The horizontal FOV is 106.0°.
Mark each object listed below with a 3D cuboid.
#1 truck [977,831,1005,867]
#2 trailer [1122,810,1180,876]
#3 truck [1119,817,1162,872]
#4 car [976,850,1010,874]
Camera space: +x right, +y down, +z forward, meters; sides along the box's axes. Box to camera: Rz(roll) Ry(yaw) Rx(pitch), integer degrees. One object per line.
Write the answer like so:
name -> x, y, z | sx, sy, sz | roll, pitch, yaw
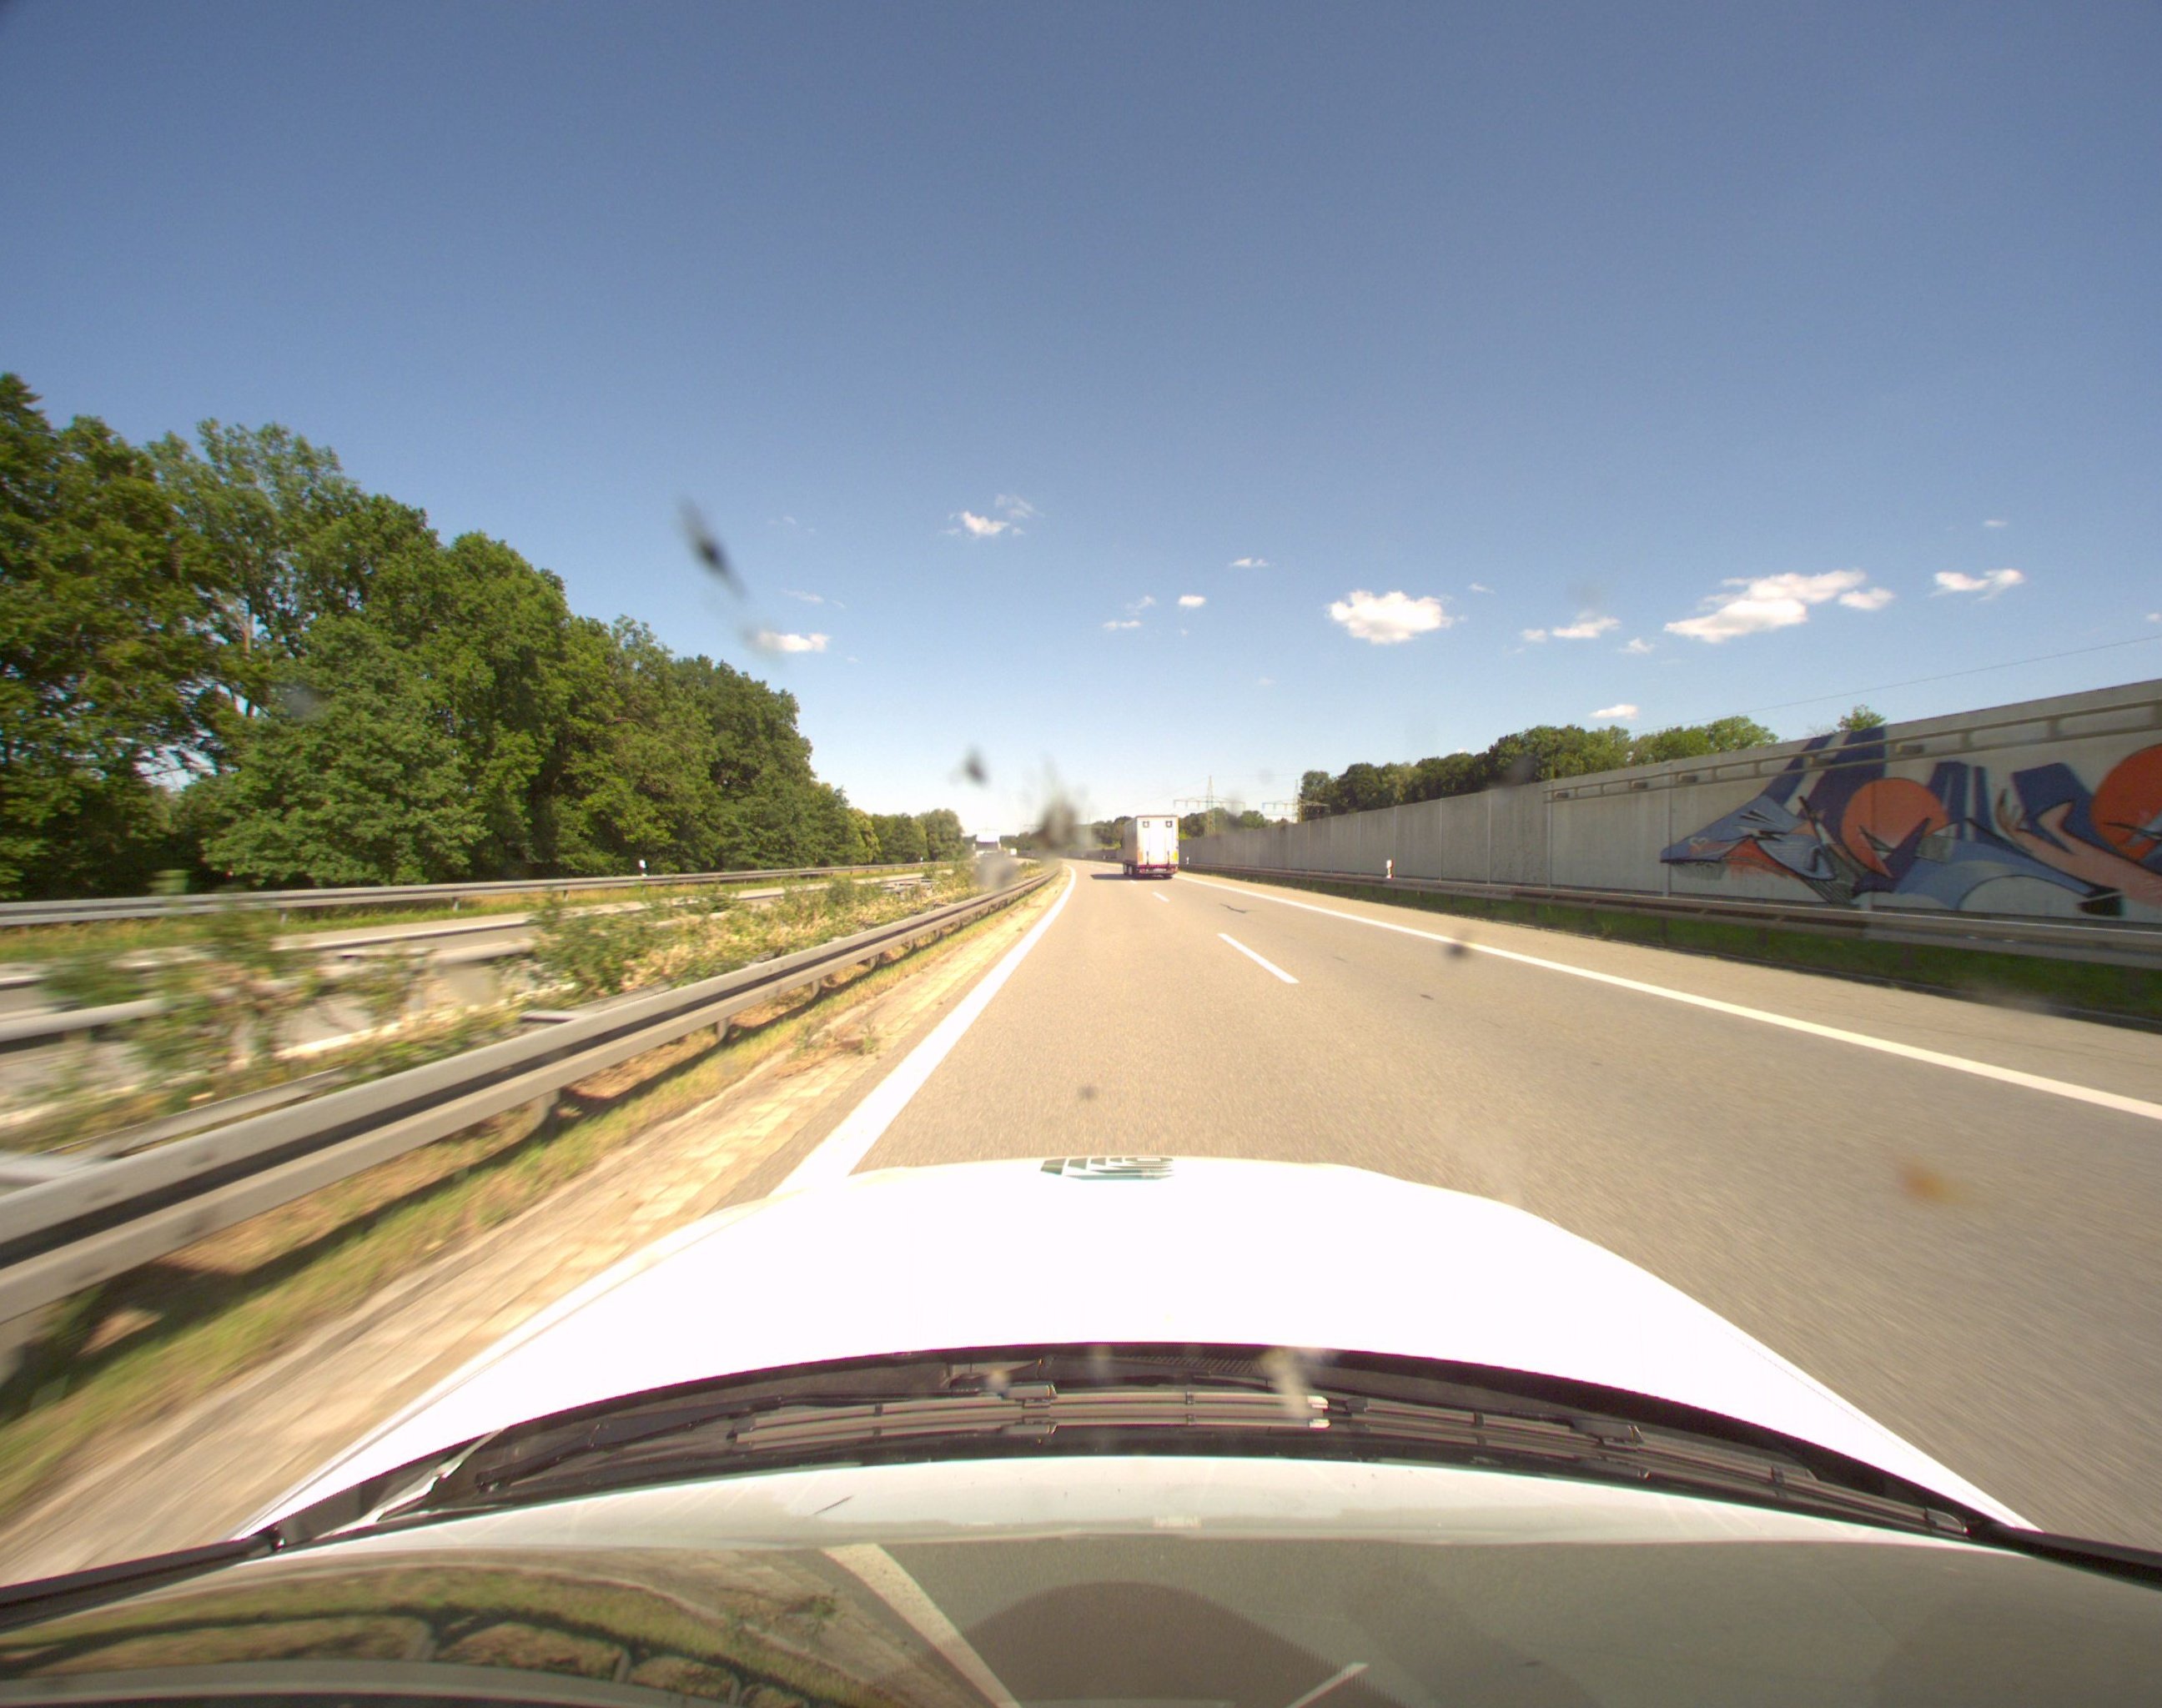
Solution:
truck -> -10.160, -0.528, 92.343 | 2.618, 3.839, 6.803 | 0, 0, -2
trailer -> 4.599, -0.619, 56.238 | 2.875, 4.066, 12.416 | 0, -1, 0
truck -> 4.563, -0.684, 63.518 | 2.822, 4.012, 6.584 | 0, -1, -1
car -> -6.117, 0.530, 56.685 | 1.836, 1.606, 4.001 | -1, -1, 1
